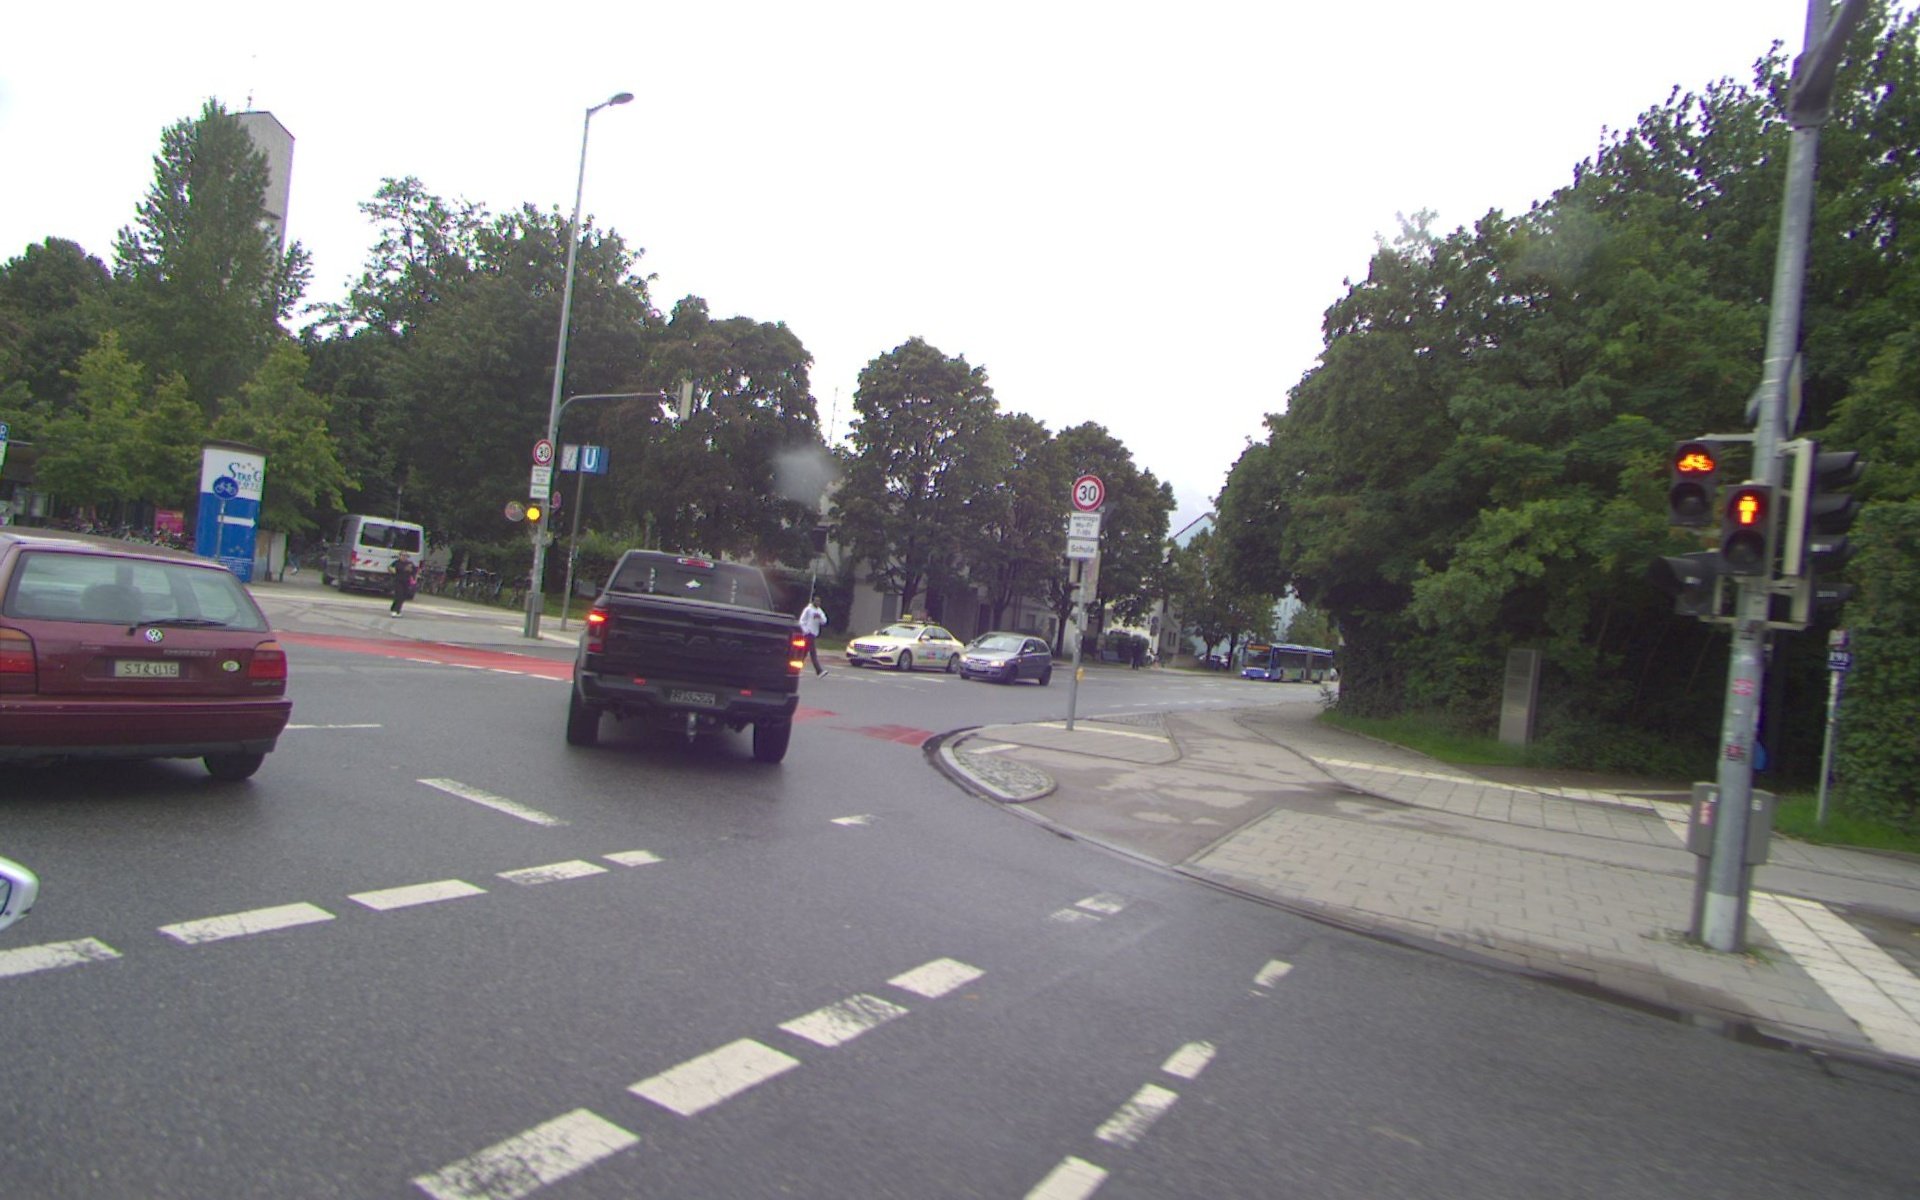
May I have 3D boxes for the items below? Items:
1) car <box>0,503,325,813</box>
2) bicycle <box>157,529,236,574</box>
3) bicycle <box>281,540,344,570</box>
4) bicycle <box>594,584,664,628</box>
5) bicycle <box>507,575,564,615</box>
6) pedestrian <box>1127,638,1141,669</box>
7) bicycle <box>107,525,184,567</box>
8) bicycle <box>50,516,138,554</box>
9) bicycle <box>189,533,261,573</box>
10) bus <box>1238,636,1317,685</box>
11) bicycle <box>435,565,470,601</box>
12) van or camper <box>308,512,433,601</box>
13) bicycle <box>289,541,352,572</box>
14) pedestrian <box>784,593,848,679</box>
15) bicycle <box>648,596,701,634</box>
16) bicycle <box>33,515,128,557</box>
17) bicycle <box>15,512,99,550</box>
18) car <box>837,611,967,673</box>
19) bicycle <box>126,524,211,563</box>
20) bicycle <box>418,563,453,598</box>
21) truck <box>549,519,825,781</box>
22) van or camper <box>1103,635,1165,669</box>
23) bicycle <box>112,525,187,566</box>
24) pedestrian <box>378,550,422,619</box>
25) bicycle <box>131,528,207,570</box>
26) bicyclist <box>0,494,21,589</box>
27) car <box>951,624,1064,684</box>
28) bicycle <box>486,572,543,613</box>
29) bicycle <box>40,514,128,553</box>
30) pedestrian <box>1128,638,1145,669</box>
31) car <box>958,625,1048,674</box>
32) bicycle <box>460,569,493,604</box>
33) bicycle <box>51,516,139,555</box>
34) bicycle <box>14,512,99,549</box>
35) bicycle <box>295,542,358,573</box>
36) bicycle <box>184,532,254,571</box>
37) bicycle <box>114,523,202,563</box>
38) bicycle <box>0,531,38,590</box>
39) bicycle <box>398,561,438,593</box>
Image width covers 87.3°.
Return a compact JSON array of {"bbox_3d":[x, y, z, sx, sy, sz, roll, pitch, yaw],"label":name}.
[{"bbox_3d":[-5.905,0.151,6.274,3.884,1.471,1.624,6,-1,31],"label":"car"},{"bbox_3d":[-24.098,-1.520,31.790,0.557,1.227,1.944,6,1,20],"label":"bicycle"},{"bbox_3d":[-29.089,-2.011,45.238,0.520,1.173,2.339,7,2,31],"label":"bicycle"},{"bbox_3d":[-11.367,0.199,34.581,2.074,1.266,0.703,7,0,5],"label":"bicycle"},{"bbox_3d":[-14.857,-0.195,35.195,2.095,1.167,0.697,6,0,34],"label":"bicycle"},{"bbox_3d":[10.965,3.347,63.305,0.596,1.849,0.707,6,0,3],"label":"pedestrian"},{"bbox_3d":[-26.089,-1.721,32.237,0.559,1.157,1.803,7,1,40],"label":"bicycle"},{"bbox_3d":[-31.601,-2.359,36.746,0.520,1.173,2.339,7,2,31],"label":"bicycle"},{"bbox_3d":[-24.457,-1.559,33.516,0.558,1.157,1.805,7,1,36],"label":"bicycle"},{"bbox_3d":[26.353,5.075,83.064,2.689,3.321,11.862,6,-1,34],"label":"bus"},{"bbox_3d":[-18.121,-0.596,35.940,0.708,1.167,2.121,6,-1,-18],"label":"bicycle"},{"bbox_3d":[-18.586,-1.414,31.553,2.133,2.324,6.129,7,-1,-41],"label":"van or camper"},{"bbox_3d":[-28.532,-1.948,44.957,0.520,1.173,2.339,7,2,31],"label":"bicycle"},{"bbox_3d":[-3.096,0.777,21.679,0.922,1.724,0.761,6,0,22],"label":"pedestrian"},{"bbox_3d":[-9.952,0.505,35.041,2.084,1.108,0.607,6,0,40],"label":"bicycle"},{"bbox_3d":[-30.155,-2.181,34.537,0.575,1.173,2.339,7,2,31],"label":"bicycle"},{"bbox_3d":[-34.222,-2.601,38.181,0.519,1.173,2.343,6,1,23],"label":"bicycle"},{"bbox_3d":[-1.672,1.332,30.606,1.855,1.515,4.309,6,-1,28],"label":"car"},{"bbox_3d":[-28.600,-2.015,36.401,0.575,1.173,2.339,7,2,31],"label":"bicycle"},{"bbox_3d":[-19.351,-0.713,37.130,0.708,1.167,2.121,6,-1,-18],"label":"bicycle"},{"bbox_3d":[-3.175,0.413,11.334,2.075,2.038,5.790,7,-1,-18],"label":"truck"},{"bbox_3d":[13.077,3.874,75.522,3.933,2.038,1.996,6,0,31],"label":"van or camper"},{"bbox_3d":[-26.745,-1.779,33.218,0.558,1.157,1.805,7,1,36],"label":"bicycle"},{"bbox_3d":[-13.595,-0.379,24.432,0.687,1.557,0.729,6,0,-39],"label":"pedestrian"},{"bbox_3d":[-24.852,-1.581,31.637,0.557,1.157,1.811,6,1,20],"label":"bicycle"},{"bbox_3d":[-18.503,-1.148,18.916,0.733,1.785,0.827,6,0,-4],"label":"bicyclist"},{"bbox_3d":[1.465,1.630,29.491,1.599,1.471,3.944,6,-1,29],"label":"car"},{"bbox_3d":[-15.281,-0.275,34.488,2.095,1.167,0.716,6,0,34],"label":"bicycle"},{"bbox_3d":[-32.120,-2.414,36.928,0.520,1.173,2.339,7,2,31],"label":"bicycle"},{"bbox_3d":[10.879,3.300,61.999,0.599,1.849,0.704,6,0,41],"label":"pedestrian"},{"bbox_3d":[1.620,1.847,36.734,1.599,1.471,3.945,6,-1,29],"label":"car"},{"bbox_3d":[-17.367,-0.487,36.167,0.708,1.167,2.121,6,-1,-18],"label":"bicycle"},{"bbox_3d":[-31.215,-2.307,36.341,0.520,1.173,2.339,7,2,31],"label":"bicycle"},{"bbox_3d":[-34.862,-2.660,38.856,0.520,1.173,2.339,7,2,31],"label":"bicycle"},{"bbox_3d":[-27.824,-1.859,44.228,0.520,1.173,2.339,7,2,31],"label":"bicycle"},{"bbox_3d":[-25.647,-1.672,34.856,0.558,1.157,1.807,6,1,32],"label":"bicycle"},{"bbox_3d":[-28.334,-1.992,35.604,0.575,1.173,2.339,7,2,31],"label":"bicycle"},{"bbox_3d":[-18.539,-0.790,18.840,0.734,1.094,1.947,6,-1,-4],"label":"bicycle"},{"bbox_3d":[-21.664,-0.905,40.220,0.707,1.167,2.124,6,-1,-11],"label":"bicycle"}]
